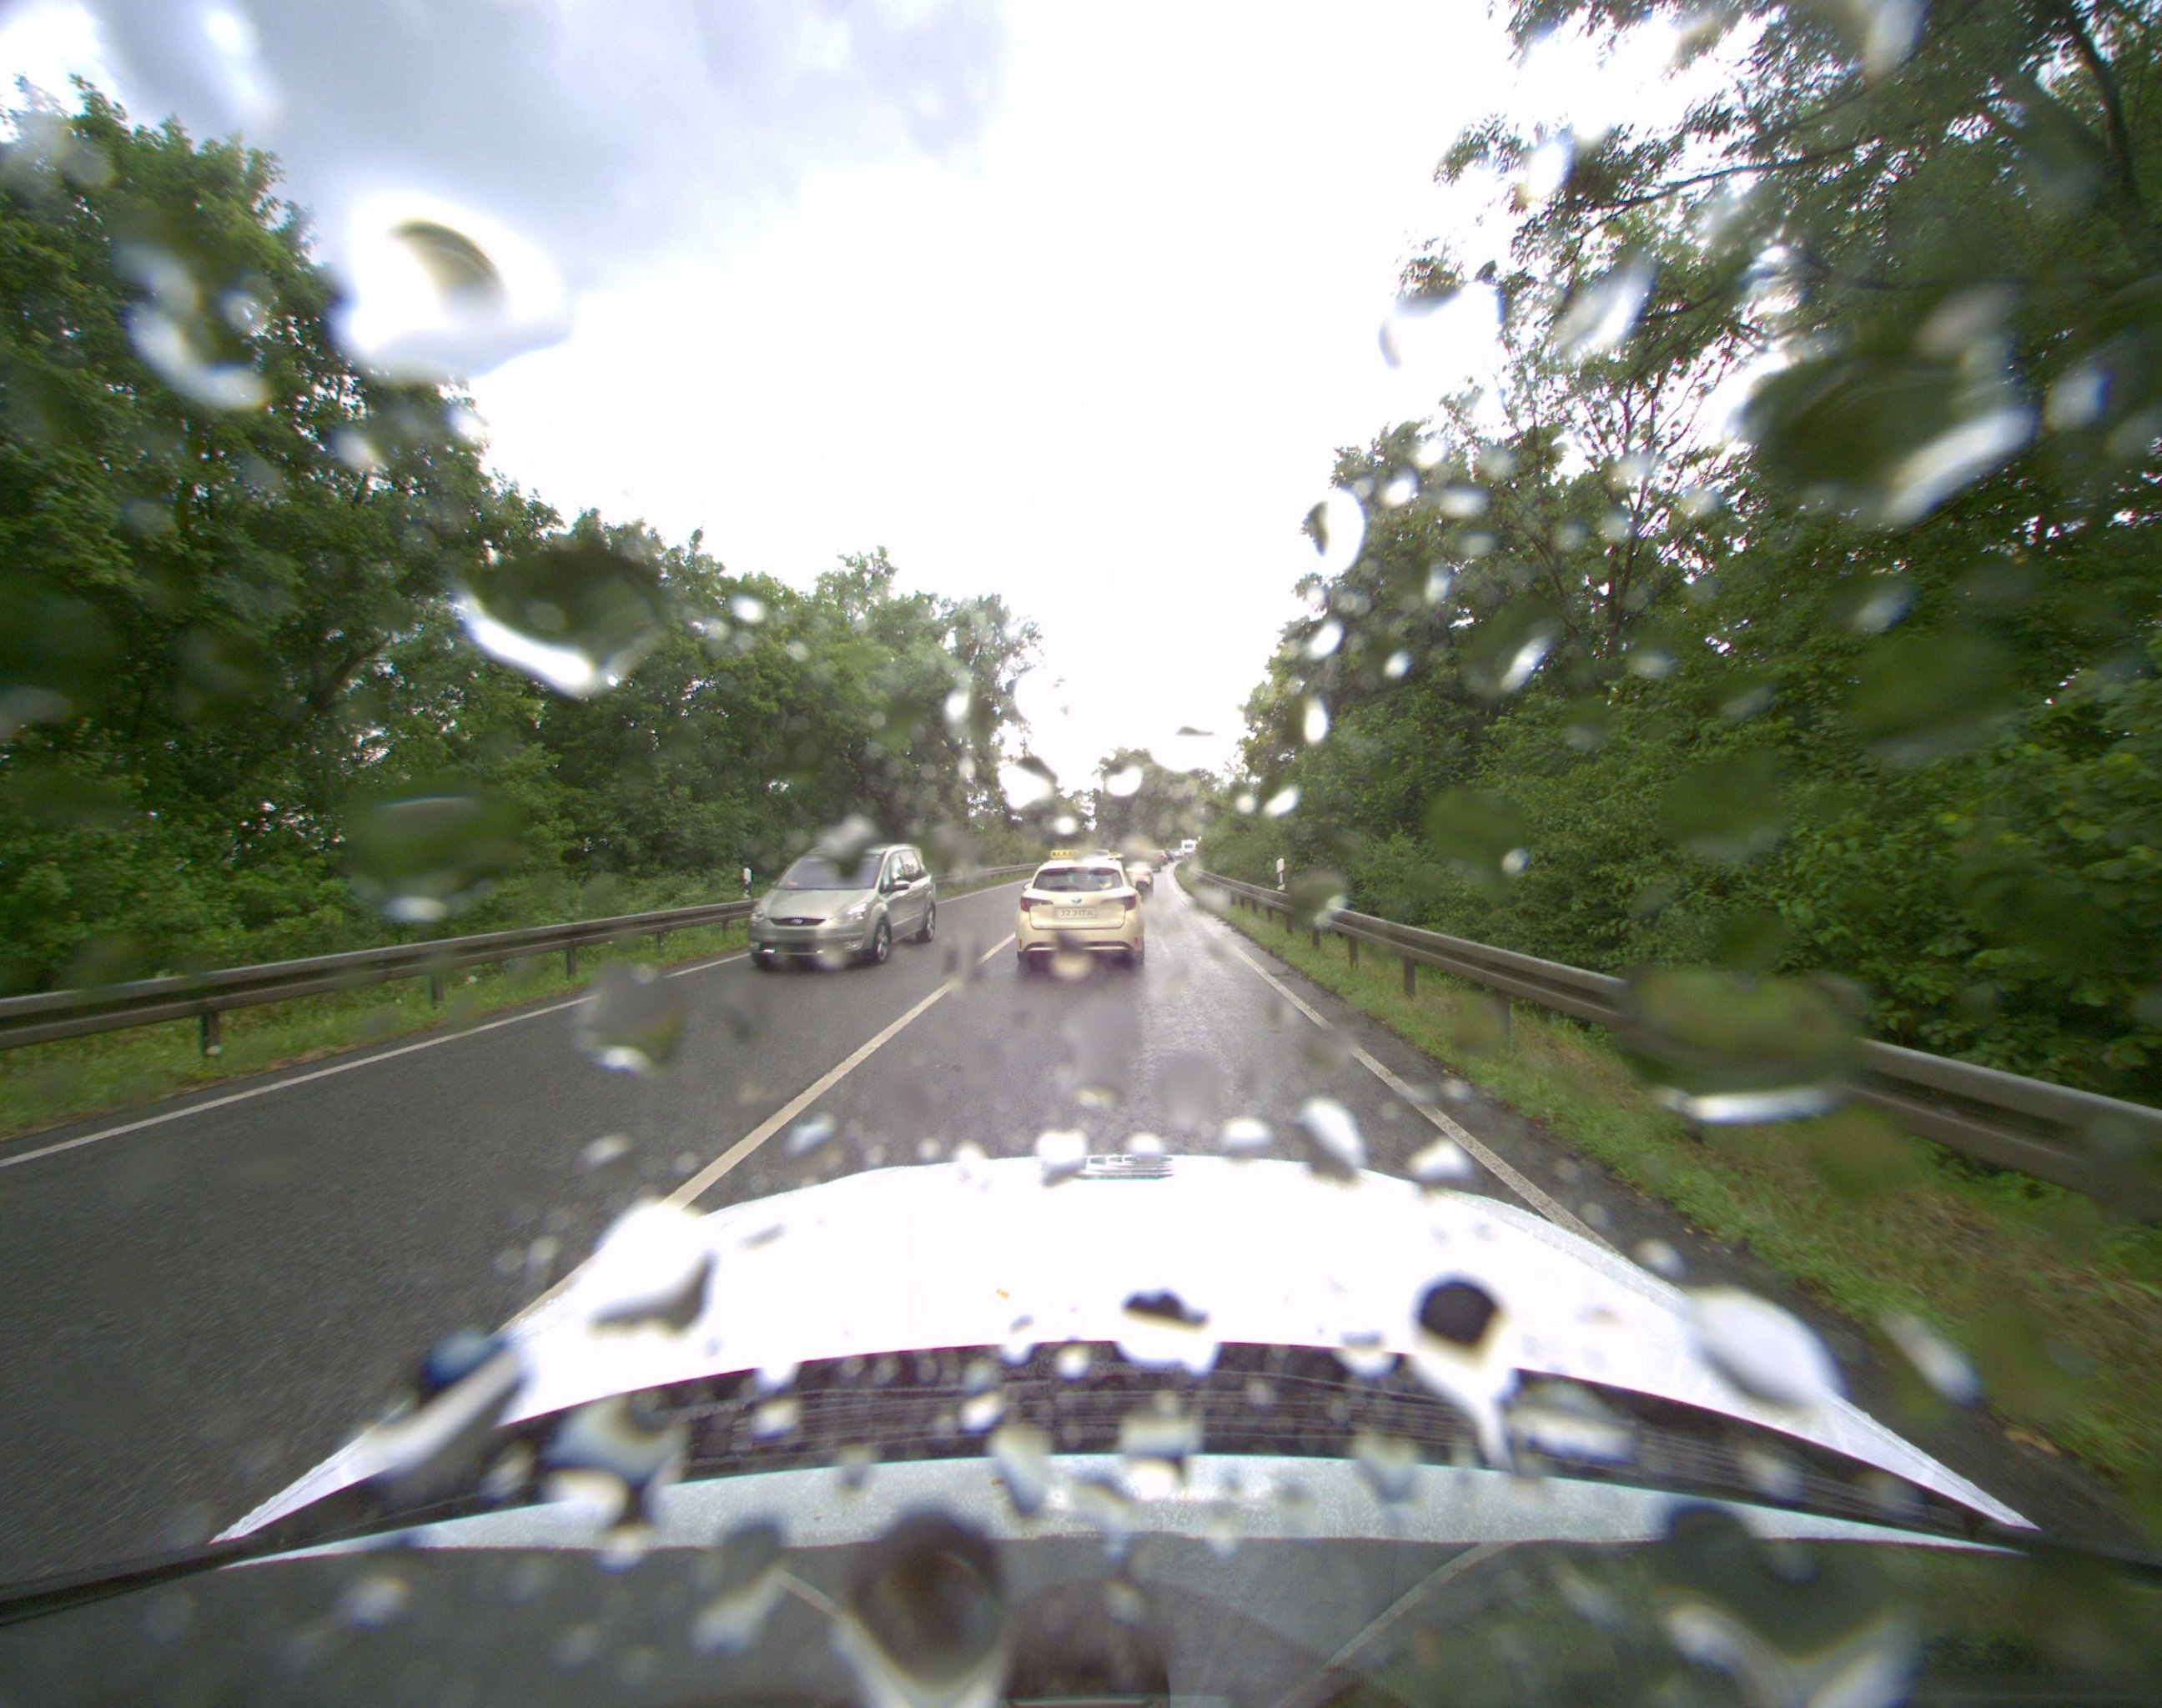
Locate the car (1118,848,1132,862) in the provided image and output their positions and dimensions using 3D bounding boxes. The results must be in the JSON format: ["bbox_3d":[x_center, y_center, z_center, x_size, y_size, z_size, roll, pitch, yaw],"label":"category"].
[{"bbox_3d":[6.311,0.157,116.192,1.984,2.014,4.004,0,-1,4],"label":"car"}]

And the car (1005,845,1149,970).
[{"bbox_3d":[0.047,0.706,12.449,1.826,1.580,4.159,0,-1,3],"label":"car"}]

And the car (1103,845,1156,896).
[{"bbox_3d":[1.648,0.552,27.356,1.660,1.580,3.896,0,-1,4],"label":"car"}]

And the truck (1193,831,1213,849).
[{"bbox_3d":[25.191,-2.855,168.186,3.083,3.680,7.029,-1,-1,16],"label":"truck"}]

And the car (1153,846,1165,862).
[{"bbox_3d":[7.597,-0.013,79.418,1.161,1.547,2.607,-1,-1,5],"label":"car"}]

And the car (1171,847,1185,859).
[{"bbox_3d":[13.438,-0.087,112.910,1.758,1.547,3.825,-1,-1,10],"label":"car"}]

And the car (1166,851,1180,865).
[{"bbox_3d":[10.590,0.457,93.745,1.607,1.613,3.628,-1,-1,7],"label":"car"}]

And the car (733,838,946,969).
[{"bbox_3d":[-3.516,0.666,12.869,1.808,1.686,4.625,0,-1,2],"label":"car"}]

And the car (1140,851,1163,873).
[{"bbox_3d":[5.156,0.602,59.884,1.604,1.547,3.818,-1,-1,5],"label":"car"}]

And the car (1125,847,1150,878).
[{"bbox_3d":[2.947,0.448,42.736,1.295,1.547,3.262,0,-1,3],"label":"car"}]

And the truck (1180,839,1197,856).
[{"bbox_3d":[18.141,-0.990,137.977,2.537,2.713,7.545,-1,-1,5],"label":"truck"}]

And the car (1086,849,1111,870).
[{"bbox_3d":[1.396,0.403,64.004,1.799,1.532,4.210,-1,0,3],"label":"car"}]
